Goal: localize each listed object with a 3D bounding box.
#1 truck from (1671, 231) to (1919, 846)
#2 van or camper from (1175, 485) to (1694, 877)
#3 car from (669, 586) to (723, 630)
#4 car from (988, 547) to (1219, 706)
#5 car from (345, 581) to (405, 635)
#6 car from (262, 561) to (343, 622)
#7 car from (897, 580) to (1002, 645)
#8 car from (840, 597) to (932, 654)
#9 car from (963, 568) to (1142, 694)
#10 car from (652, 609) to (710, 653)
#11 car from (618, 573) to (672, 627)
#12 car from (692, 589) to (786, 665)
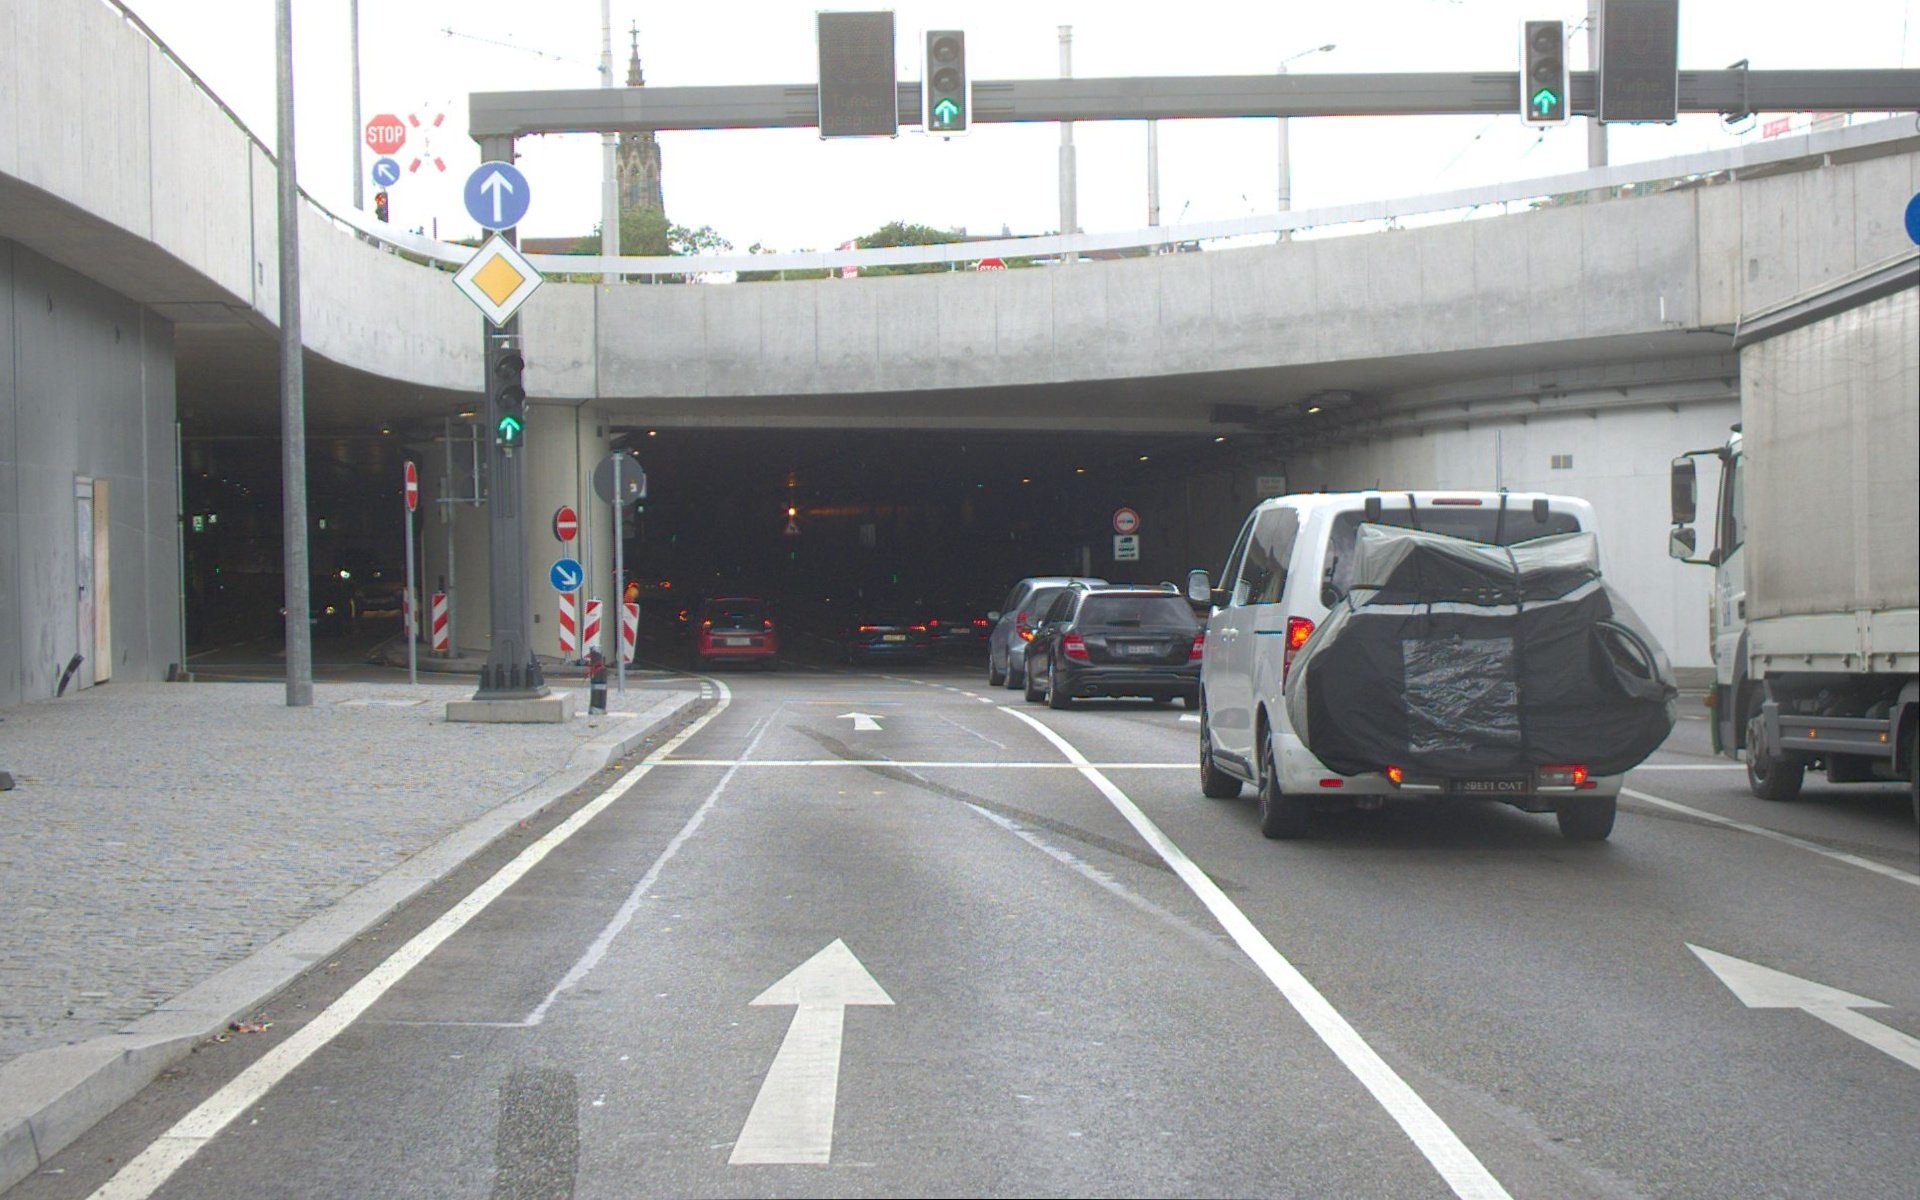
[{"bbox_3d":[6.232,-0.350,19.611,2.649,3.174,7.427,0,1,-1],"label":"truck"},{"bbox_3d":[2.442,0.341,19.186,1.993,1.839,5.508,1,1,-1],"label":"van or camper"},{"bbox_3d":[-11.380,0.333,148.018,1.993,1.767,4.001,0,2,-9],"label":"car"},{"bbox_3d":[1.563,0.273,38.872,1.818,1.678,4.001,1,0,-9],"label":"car"},{"bbox_3d":[-19.089,0.245,112.273,1.807,1.599,4.789,-1,2,-8],"label":"car"},{"bbox_3d":[-16.258,-0.235,84.860,1.664,1.436,4.114,-1,1,-15],"label":"car"},{"bbox_3d":[-0.314,0.322,90.147,1.989,1.670,4.509,0,0,-10],"label":"car"},{"bbox_3d":[-1.675,0.556,76.842,1.663,1.243,3.568,0,0,-8],"label":"car"},{"bbox_3d":[1.261,0.407,48.777,1.818,1.575,4.001,3,1,-8],"label":"car"},{"bbox_3d":[-8.116,0.891,99.853,1.508,1.243,3.568,0,0,-8],"label":"car"},{"bbox_3d":[-12.563,-0.019,136.961,1.993,2.007,4.001,0,1,-7],"label":"car"},{"bbox_3d":[-4.472,0.537,69.258,1.659,1.483,3.568,0,0,-8],"label":"car"}]
